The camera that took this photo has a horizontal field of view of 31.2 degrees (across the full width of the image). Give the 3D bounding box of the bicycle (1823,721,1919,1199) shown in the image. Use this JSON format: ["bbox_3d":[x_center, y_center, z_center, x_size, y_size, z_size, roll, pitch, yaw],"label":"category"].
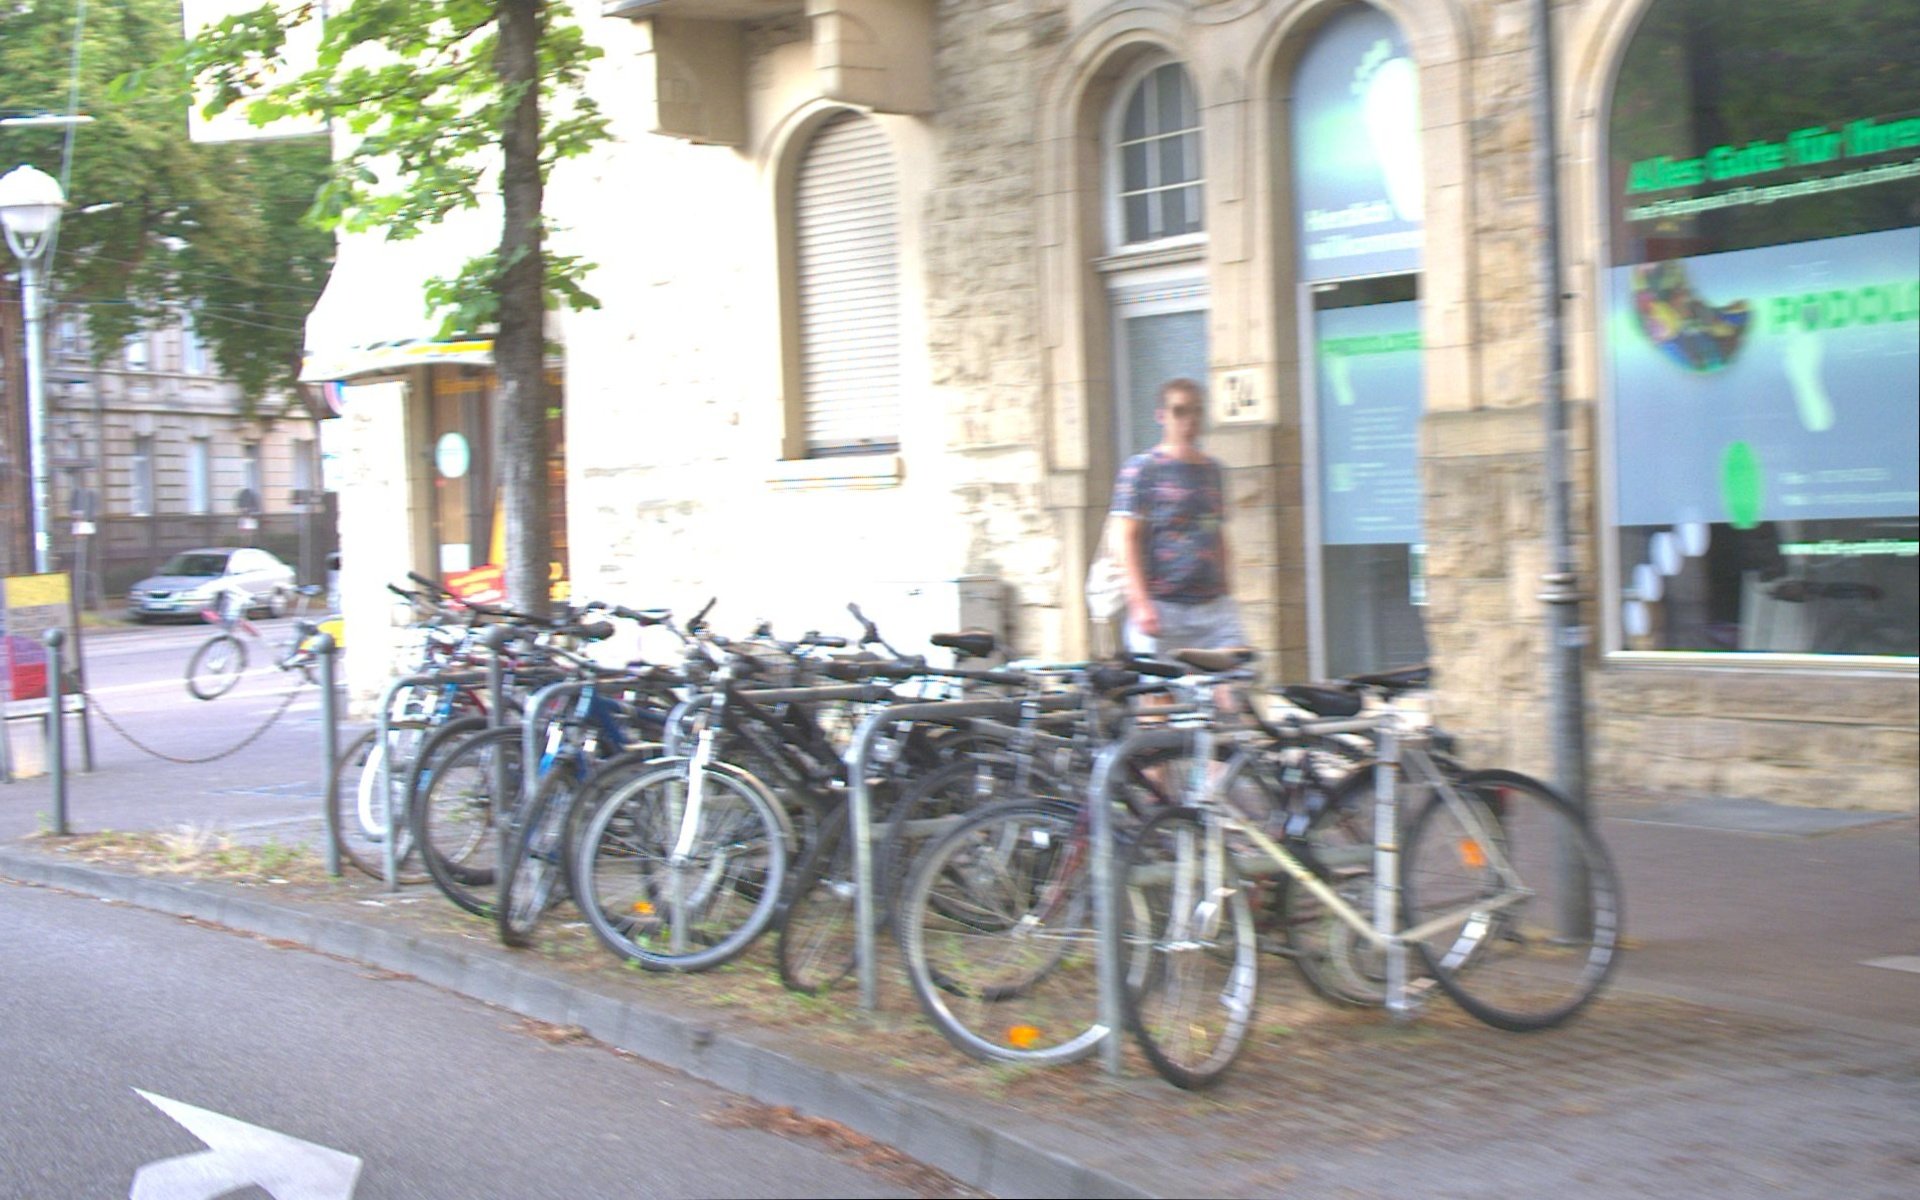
[{"bbox_3d":[2.134,0.735,4.759,1.878,1.135,0.492,-1,5,-21],"label":"bicycle"}]

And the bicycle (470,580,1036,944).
[{"bbox_3d":[-0.736,0.549,12.362,1.885,1.158,0.641,-3,2,-24],"label":"bicycle"}]

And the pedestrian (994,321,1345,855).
[{"bbox_3d":[0.854,-0.073,14.206,1.010,2.078,1.061,-3,3,-22],"label":"pedestrian"}]

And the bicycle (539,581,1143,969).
[{"bbox_3d":[-0.397,0.556,11.680,1.885,1.158,0.705,-3,2,-24],"label":"bicycle"}]

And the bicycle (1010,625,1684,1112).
[{"bbox_3d":[1.001,0.644,8.756,1.669,1.074,0.486,-3,2,-26],"label":"bicycle"}]

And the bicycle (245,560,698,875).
[{"bbox_3d":[-2.114,0.479,14.979,1.787,1.232,0.700,-3,2,-35],"label":"bicycle"}]

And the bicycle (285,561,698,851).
[{"bbox_3d":[-2.185,0.469,16.155,1.788,1.232,0.651,-3,2,-36],"label":"bicycle"}]

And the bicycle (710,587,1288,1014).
[{"bbox_3d":[0.120,0.582,10.408,1.669,1.124,0.486,-2,8,-17],"label":"bicycle"}]

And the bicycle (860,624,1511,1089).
[{"bbox_3d":[0.614,0.643,9.142,1.669,1.074,0.486,-3,2,-26],"label":"bicycle"}]

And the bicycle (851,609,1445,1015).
[{"bbox_3d":[0.562,0.603,10.241,1.669,1.074,0.486,-3,1,-18],"label":"bicycle"}]

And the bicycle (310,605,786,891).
[{"bbox_3d":[-1.688,0.581,14.223,1.801,1.034,0.700,-3,2,-35],"label":"bicycle"}]

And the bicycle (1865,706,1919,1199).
[{"bbox_3d":[2.173,0.694,4.322,1.878,1.213,0.492,-2,-5,-8],"label":"bicycle"}]

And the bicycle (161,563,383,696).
[{"bbox_3d":[-6.312,0.262,31.534,1.871,1.126,0.732,-2,1,-20],"label":"bicycle"}]

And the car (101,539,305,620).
[{"bbox_3d":[-14.914,-0.433,67.989,2.005,1.422,4.629,-2,2,15],"label":"car"}]

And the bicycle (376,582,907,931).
[{"bbox_3d":[-1.180,0.550,12.970,1.886,1.158,0.640,-3,2,-35],"label":"bicycle"}]

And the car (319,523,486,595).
[{"bbox_3d":[-12.570,-0.943,77.790,1.946,1.477,4.165,-1,2,19],"label":"car"}]
